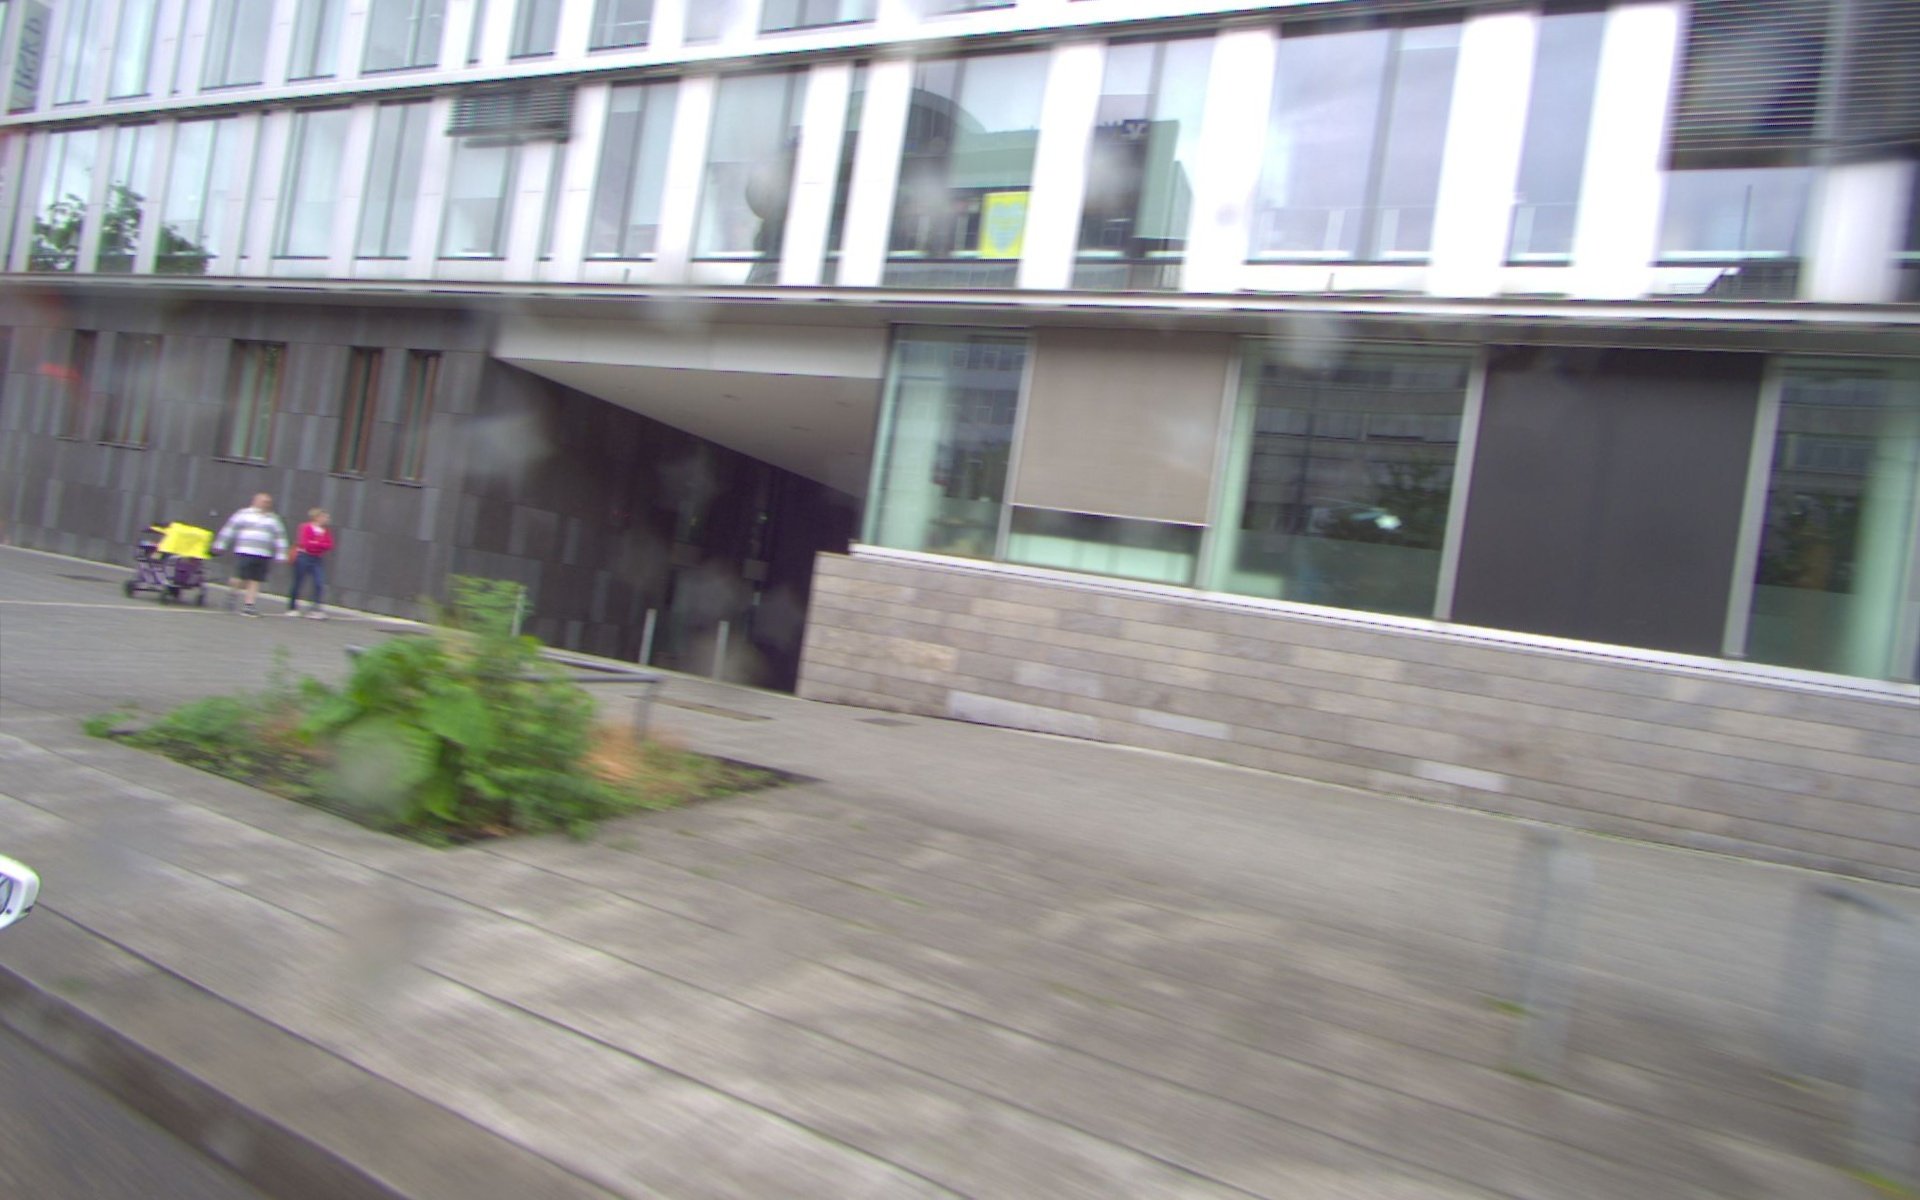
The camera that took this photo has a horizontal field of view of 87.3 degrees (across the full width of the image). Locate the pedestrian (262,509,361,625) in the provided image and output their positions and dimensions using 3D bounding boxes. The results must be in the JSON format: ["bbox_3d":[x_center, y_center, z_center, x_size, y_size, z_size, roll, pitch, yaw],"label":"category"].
[{"bbox_3d":[-10.376,-0.521,16.091,1.080,1.712,0.719,7,2,23],"label":"pedestrian"}]

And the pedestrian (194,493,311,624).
[{"bbox_3d":[-10.662,-0.611,15.177,1.027,1.815,0.902,7,2,23],"label":"pedestrian"}]

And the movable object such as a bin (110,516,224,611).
[{"bbox_3d":[-12.219,-0.560,15.499,1.418,1.280,0.733,7,1,25],"label":"movable object such as a bin"}]
